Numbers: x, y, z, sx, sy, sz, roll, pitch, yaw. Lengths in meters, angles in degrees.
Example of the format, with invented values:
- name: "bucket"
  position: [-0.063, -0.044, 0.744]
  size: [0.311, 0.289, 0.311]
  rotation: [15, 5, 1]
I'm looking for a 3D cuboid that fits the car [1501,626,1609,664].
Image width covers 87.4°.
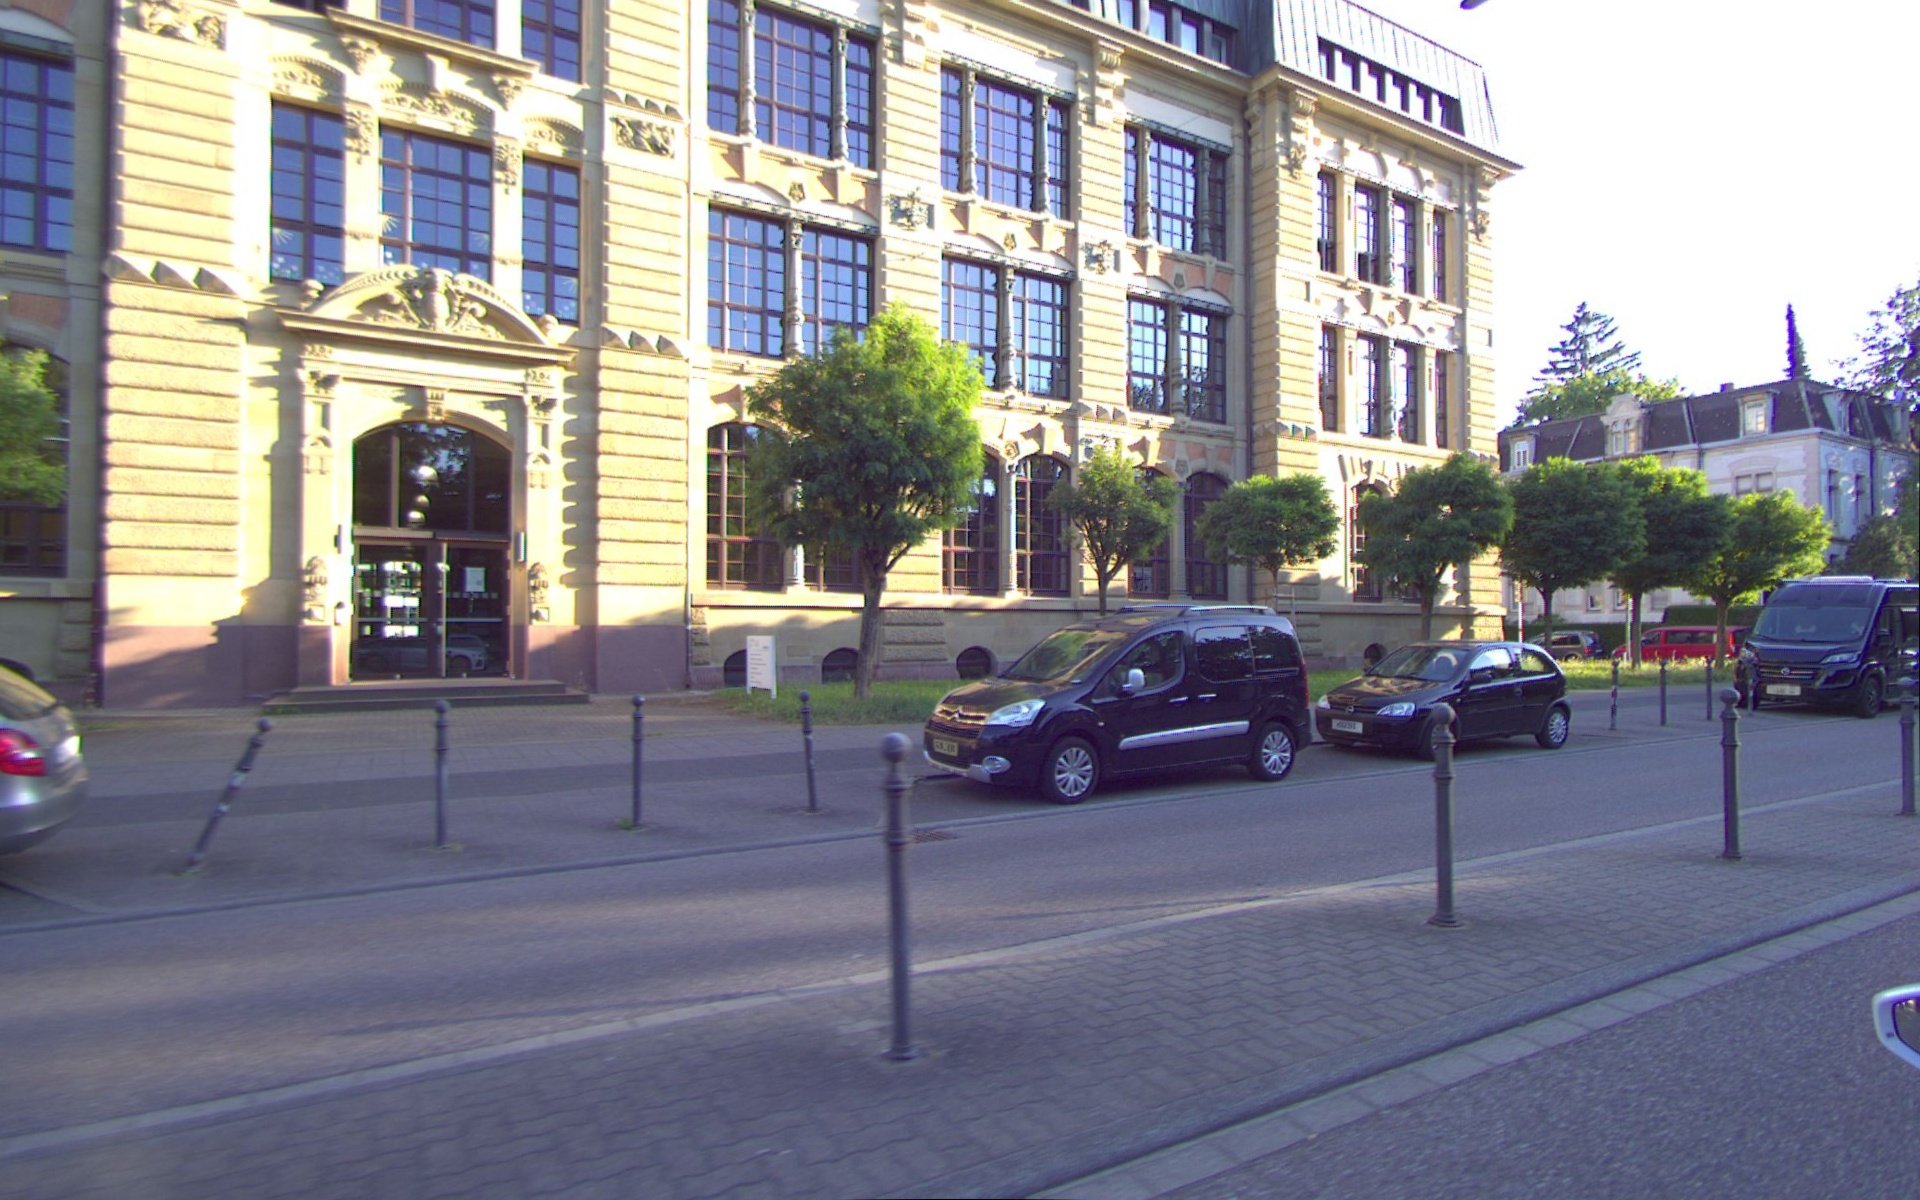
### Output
- name: "car"
  position: [27.994, 2.083, 47.339]
  size: [1.899, 1.695, 3.965]
  rotation: [1, -2, -32]

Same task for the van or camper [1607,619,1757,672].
- name: "van or camper"
  position: [30.675, 1.910, 42.855]
  size: [1.975, 2.012, 4.750]
  rotation: [-4, 0, -28]

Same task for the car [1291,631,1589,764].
- name: "car"
  position: [6.446, 1.199, 13.425]
  size: [3.807, 1.490, 1.689]
  rotation: [1, 0, -29]

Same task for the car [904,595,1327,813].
- name: "car"
  position: [1.721, 0.939, 10.676]
  size: [4.281, 1.891, 1.769]
  rotation: [1, 1, -30]

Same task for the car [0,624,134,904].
- name: "car"
  position: [-7.346, 0.912, 5.379]
  size: [4.332, 1.516, 1.708]
  rotation: [1, 0, -34]

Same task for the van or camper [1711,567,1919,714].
- name: "van or camper"
  position: [18.116, 0.779, 20.332]
  size: [6.999, 2.578, 2.218]
  rotation: [1, -1, -31]
